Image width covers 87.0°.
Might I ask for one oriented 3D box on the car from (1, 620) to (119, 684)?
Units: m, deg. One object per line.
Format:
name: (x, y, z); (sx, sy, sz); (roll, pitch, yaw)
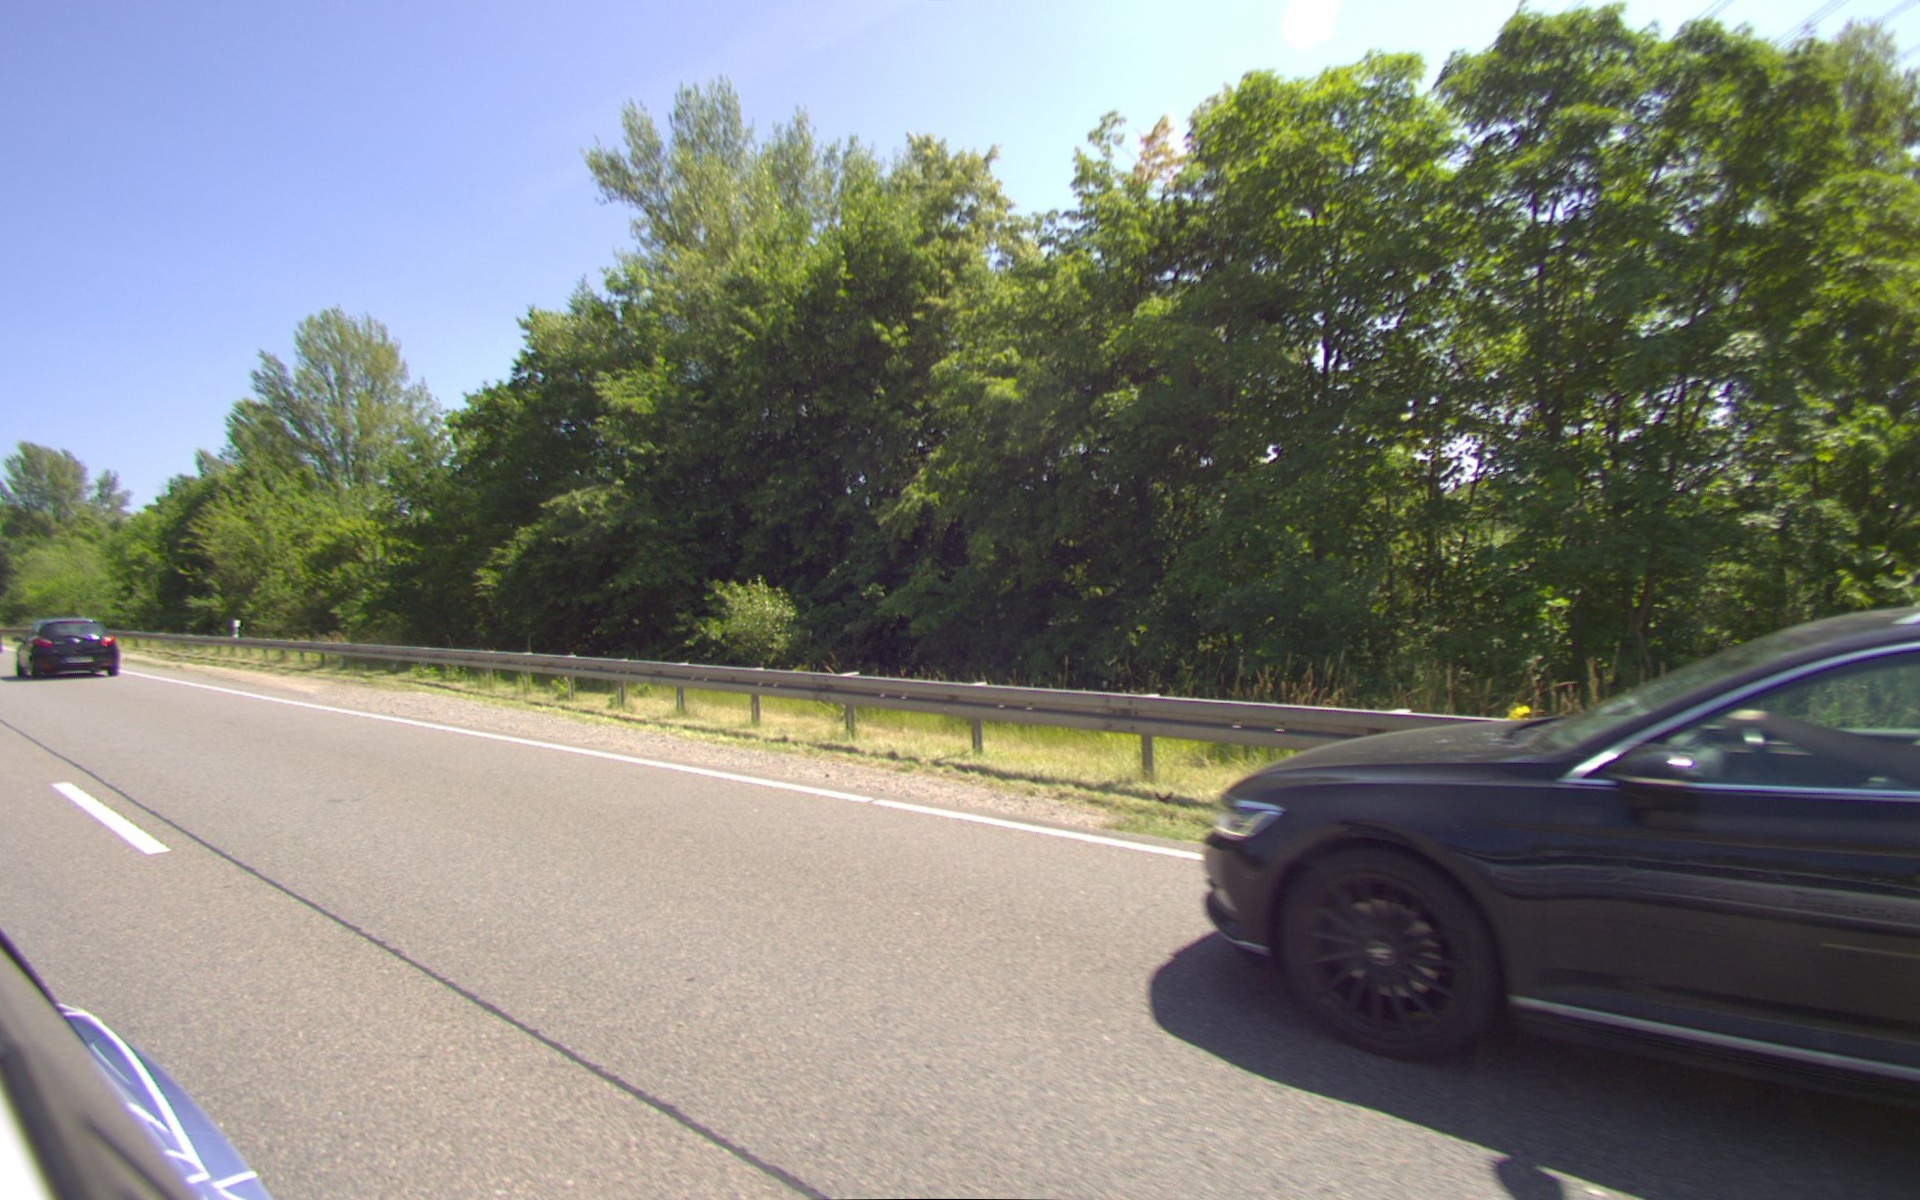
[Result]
car: (-22.617, 1.244, 25.390); (4.411, 1.448, 1.617); (-1, -1, 40)

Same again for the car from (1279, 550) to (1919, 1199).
car: (3.169, 0.626, 2.737); (3.999, 1.508, 1.825); (-1, -1, 42)
